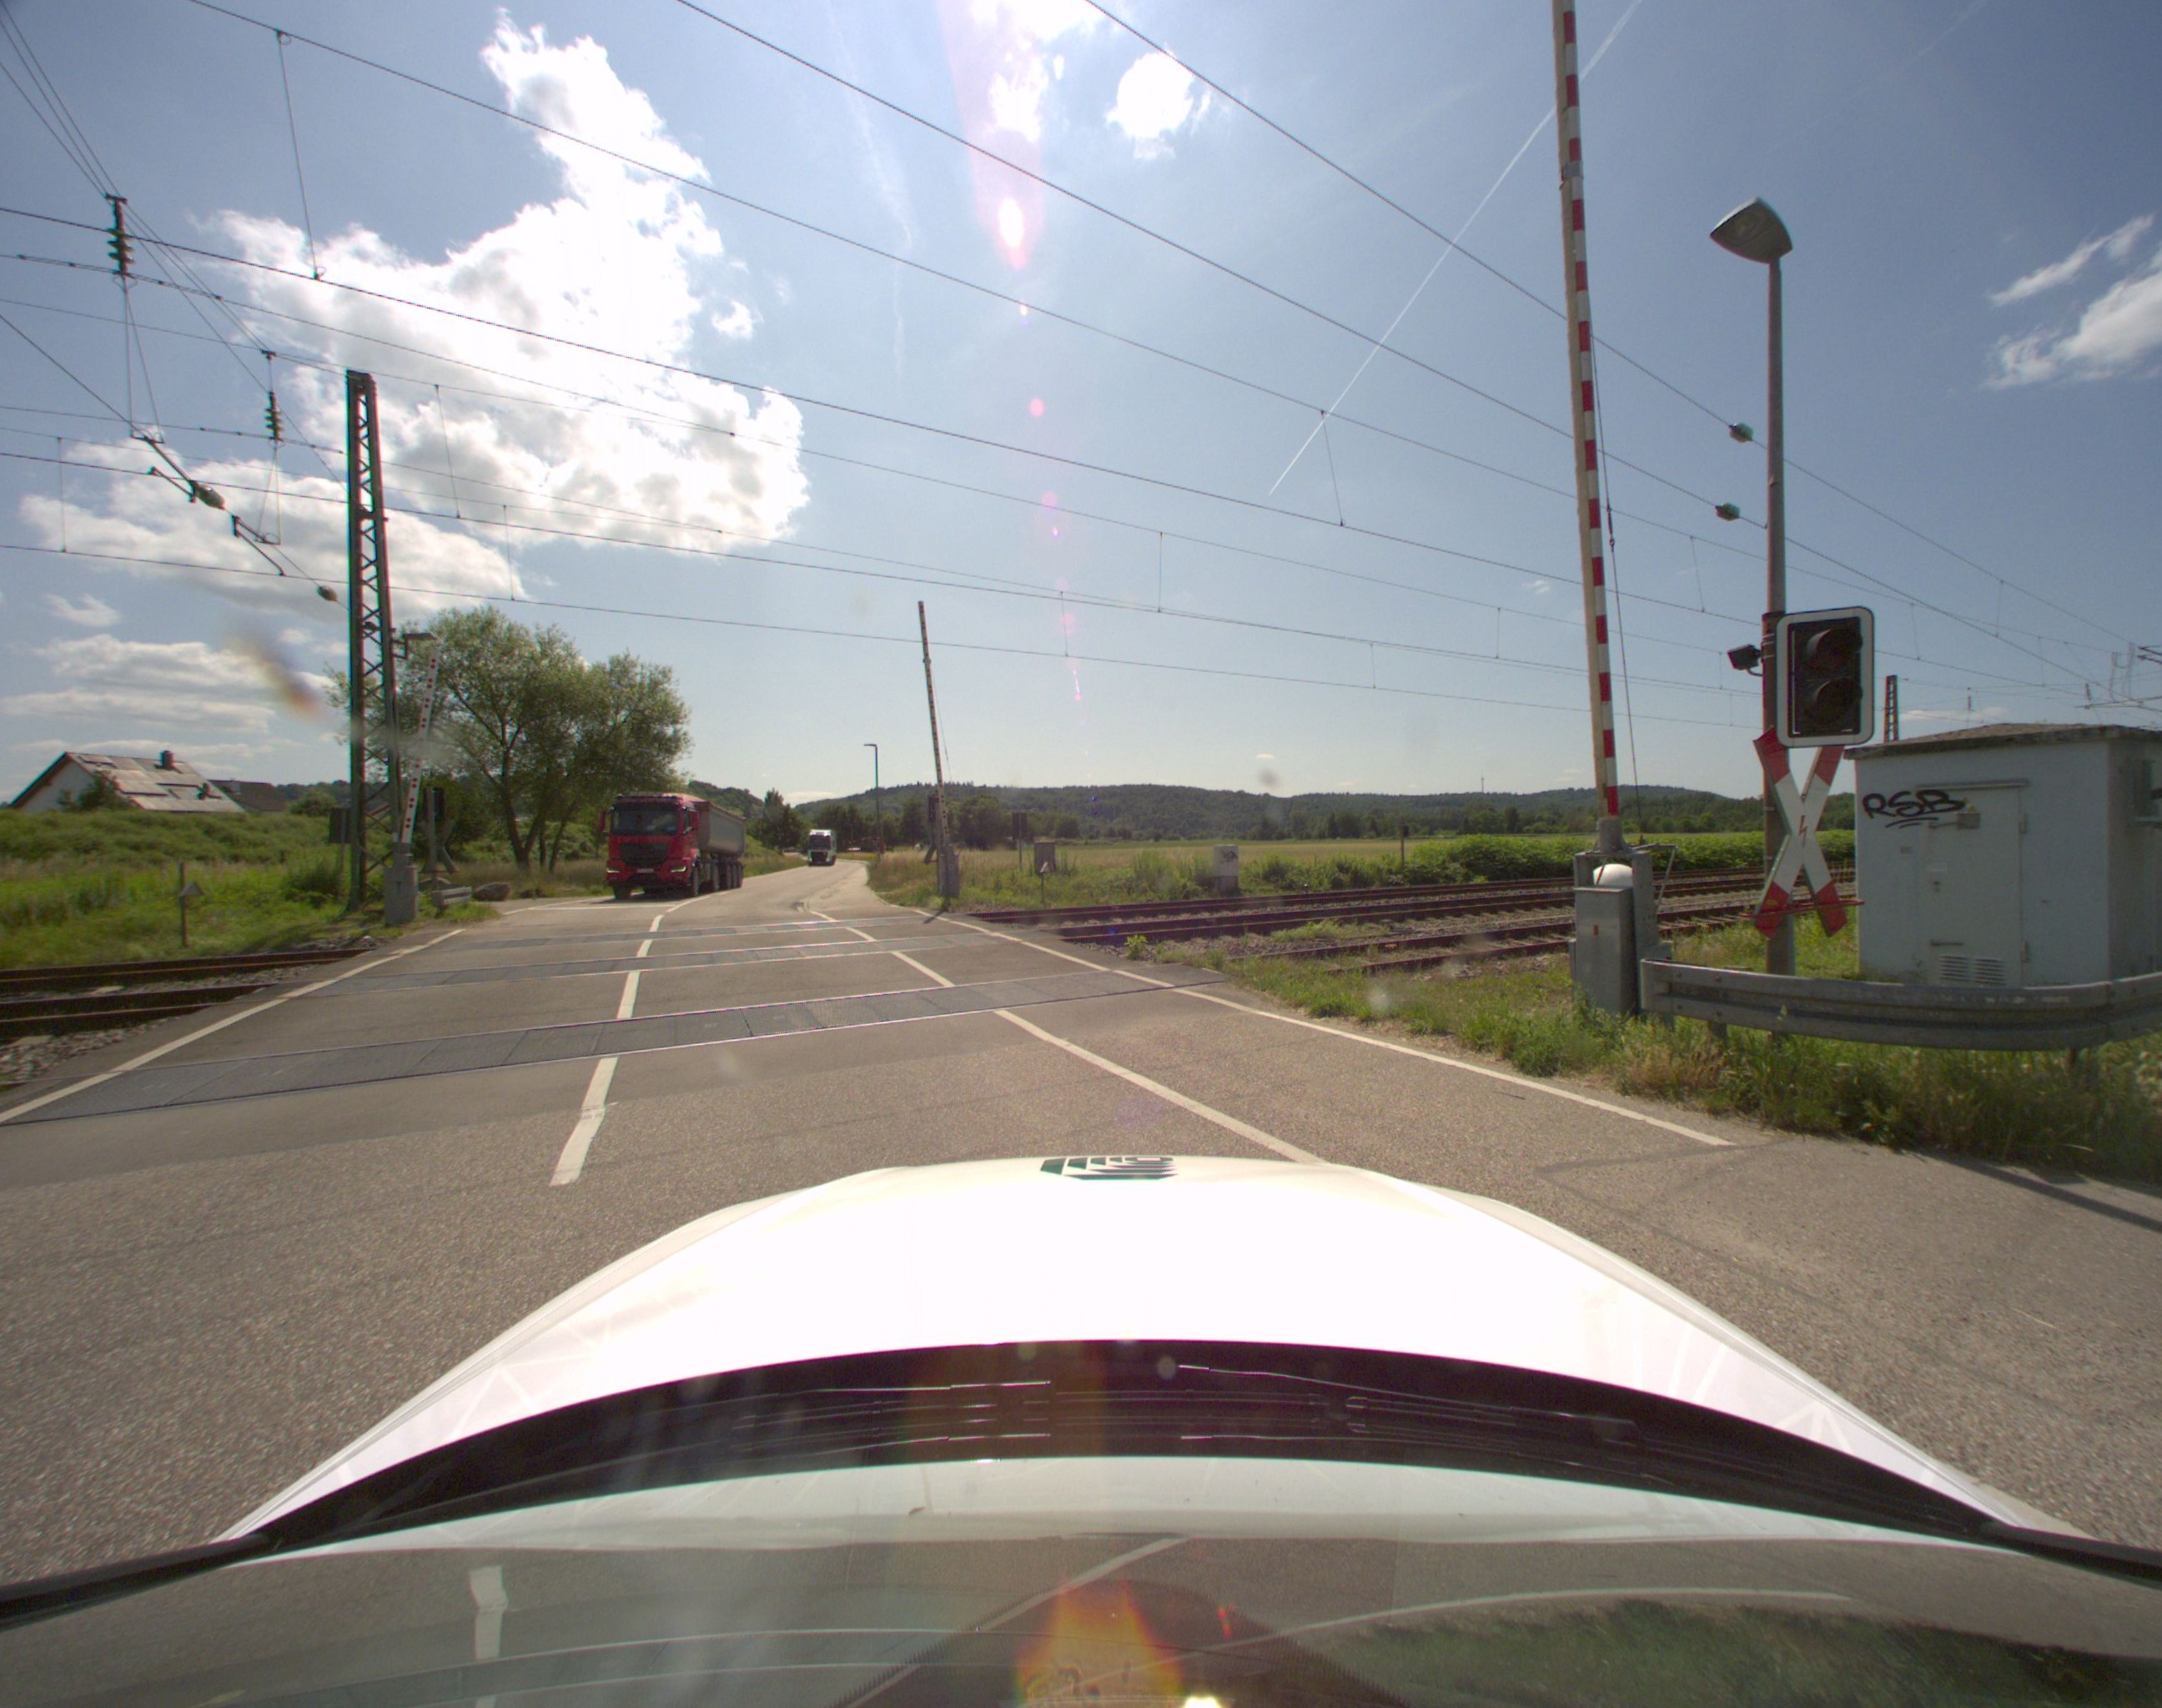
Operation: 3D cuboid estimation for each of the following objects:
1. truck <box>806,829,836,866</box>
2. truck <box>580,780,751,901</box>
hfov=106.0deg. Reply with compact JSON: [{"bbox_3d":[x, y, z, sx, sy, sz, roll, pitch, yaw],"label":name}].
[{"bbox_3d":[-28.876,-0.708,90.526,2.574,3.948,6.012,-2,1,-13],"label":"truck"},{"bbox_3d":[-15.365,-0.474,31.398,2.875,3.745,12.096,-1,0,-13],"label":"truck"}]
